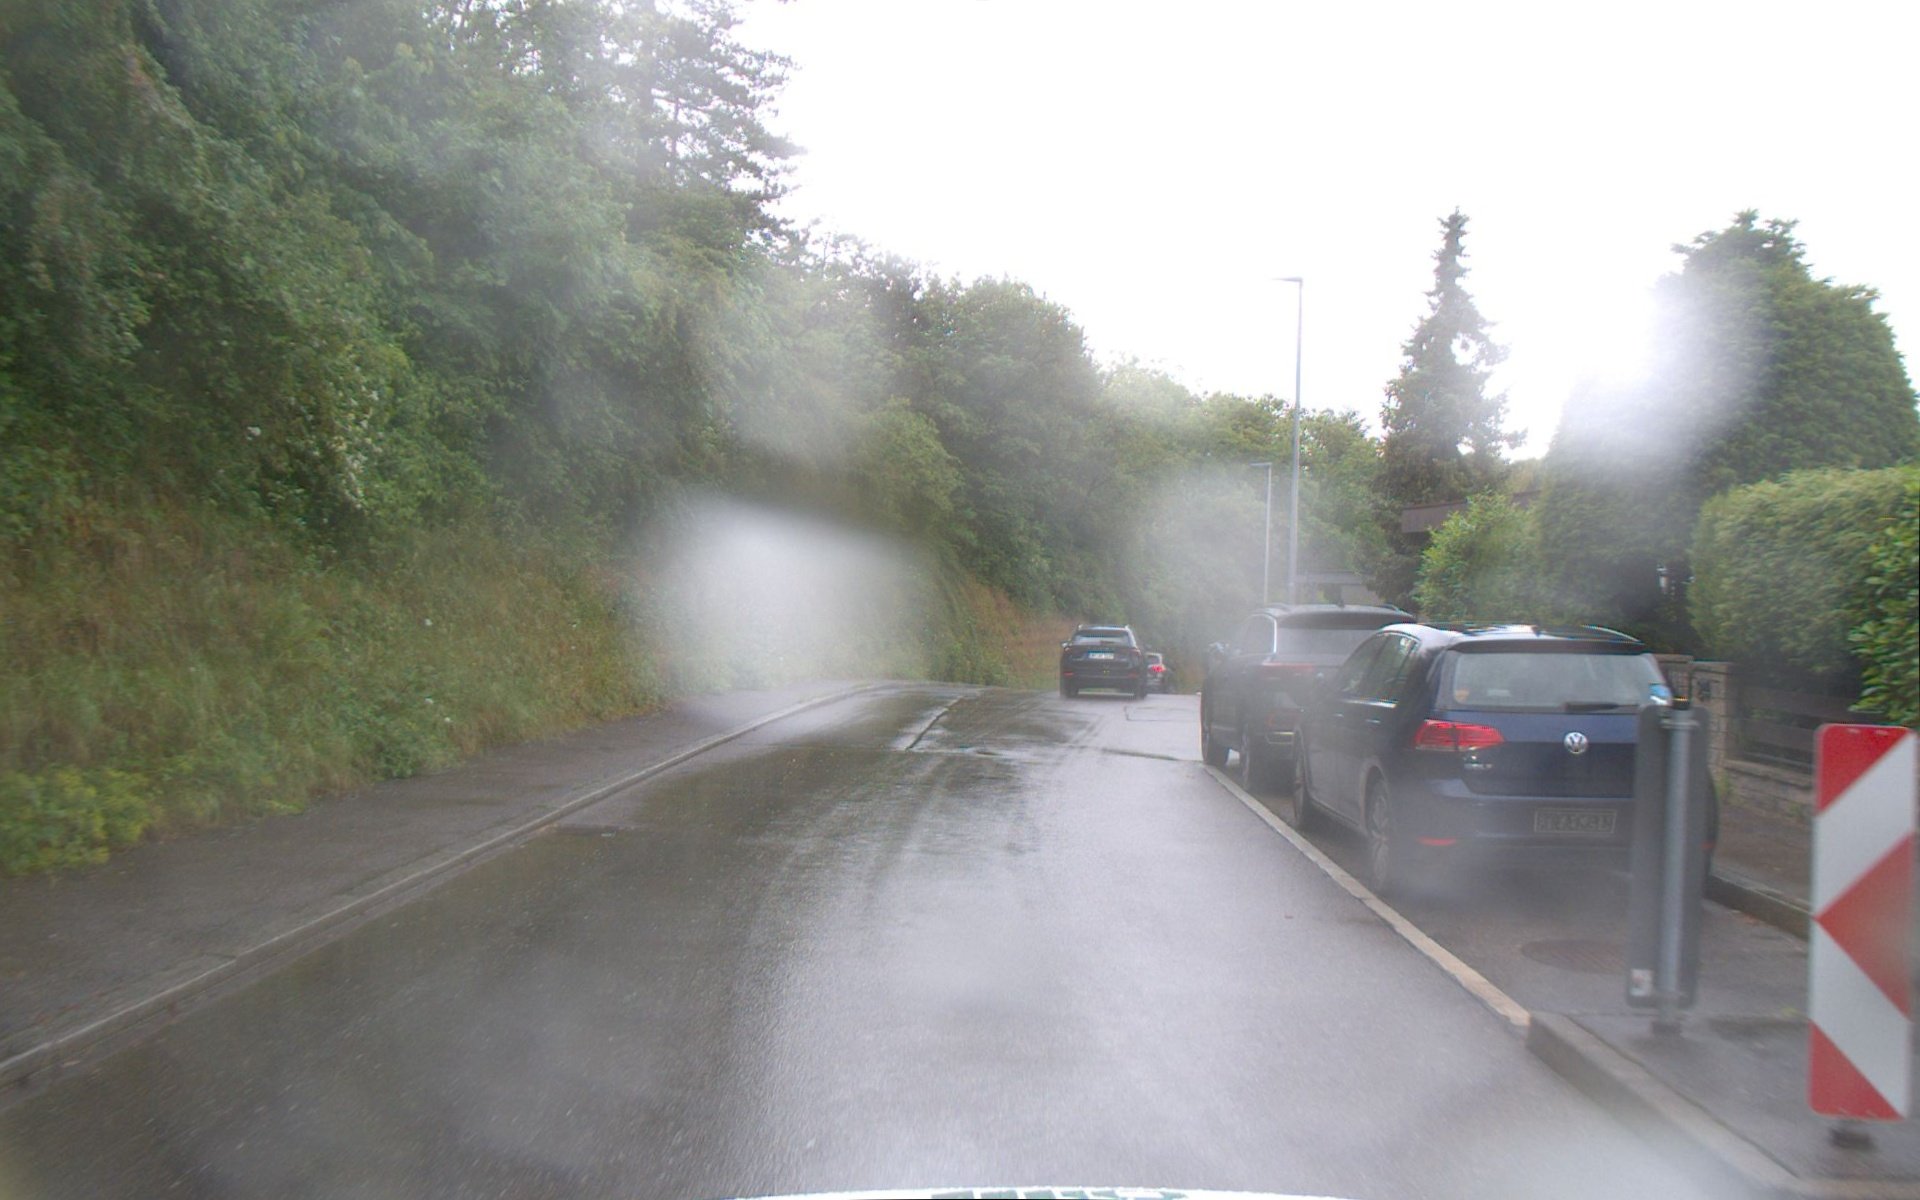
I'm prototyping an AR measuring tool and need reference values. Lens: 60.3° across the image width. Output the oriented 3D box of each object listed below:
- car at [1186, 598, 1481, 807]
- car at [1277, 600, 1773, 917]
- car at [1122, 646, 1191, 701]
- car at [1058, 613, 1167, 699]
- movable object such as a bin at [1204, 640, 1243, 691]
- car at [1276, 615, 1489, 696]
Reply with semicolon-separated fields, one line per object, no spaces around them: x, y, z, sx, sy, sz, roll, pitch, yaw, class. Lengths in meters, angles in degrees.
3.270;0.807;15.381;1.836;1.620;4.480;1;0;2;car
3.199;0.783;10.325;1.719;1.487;4.302;2;0;2;car
6.777;2.483;56.746;1.951;1.633;4.413;2;0;11;car
3.236;1.204;34.379;1.829;1.539;4.095;3;-4;10;car
5.902;1.468;37.138;0.773;1.115;0.675;-2;-3;5;movable object such as a bin
8.742;1.150;34.337;4.127;1.440;1.942;2;-2;15;car
